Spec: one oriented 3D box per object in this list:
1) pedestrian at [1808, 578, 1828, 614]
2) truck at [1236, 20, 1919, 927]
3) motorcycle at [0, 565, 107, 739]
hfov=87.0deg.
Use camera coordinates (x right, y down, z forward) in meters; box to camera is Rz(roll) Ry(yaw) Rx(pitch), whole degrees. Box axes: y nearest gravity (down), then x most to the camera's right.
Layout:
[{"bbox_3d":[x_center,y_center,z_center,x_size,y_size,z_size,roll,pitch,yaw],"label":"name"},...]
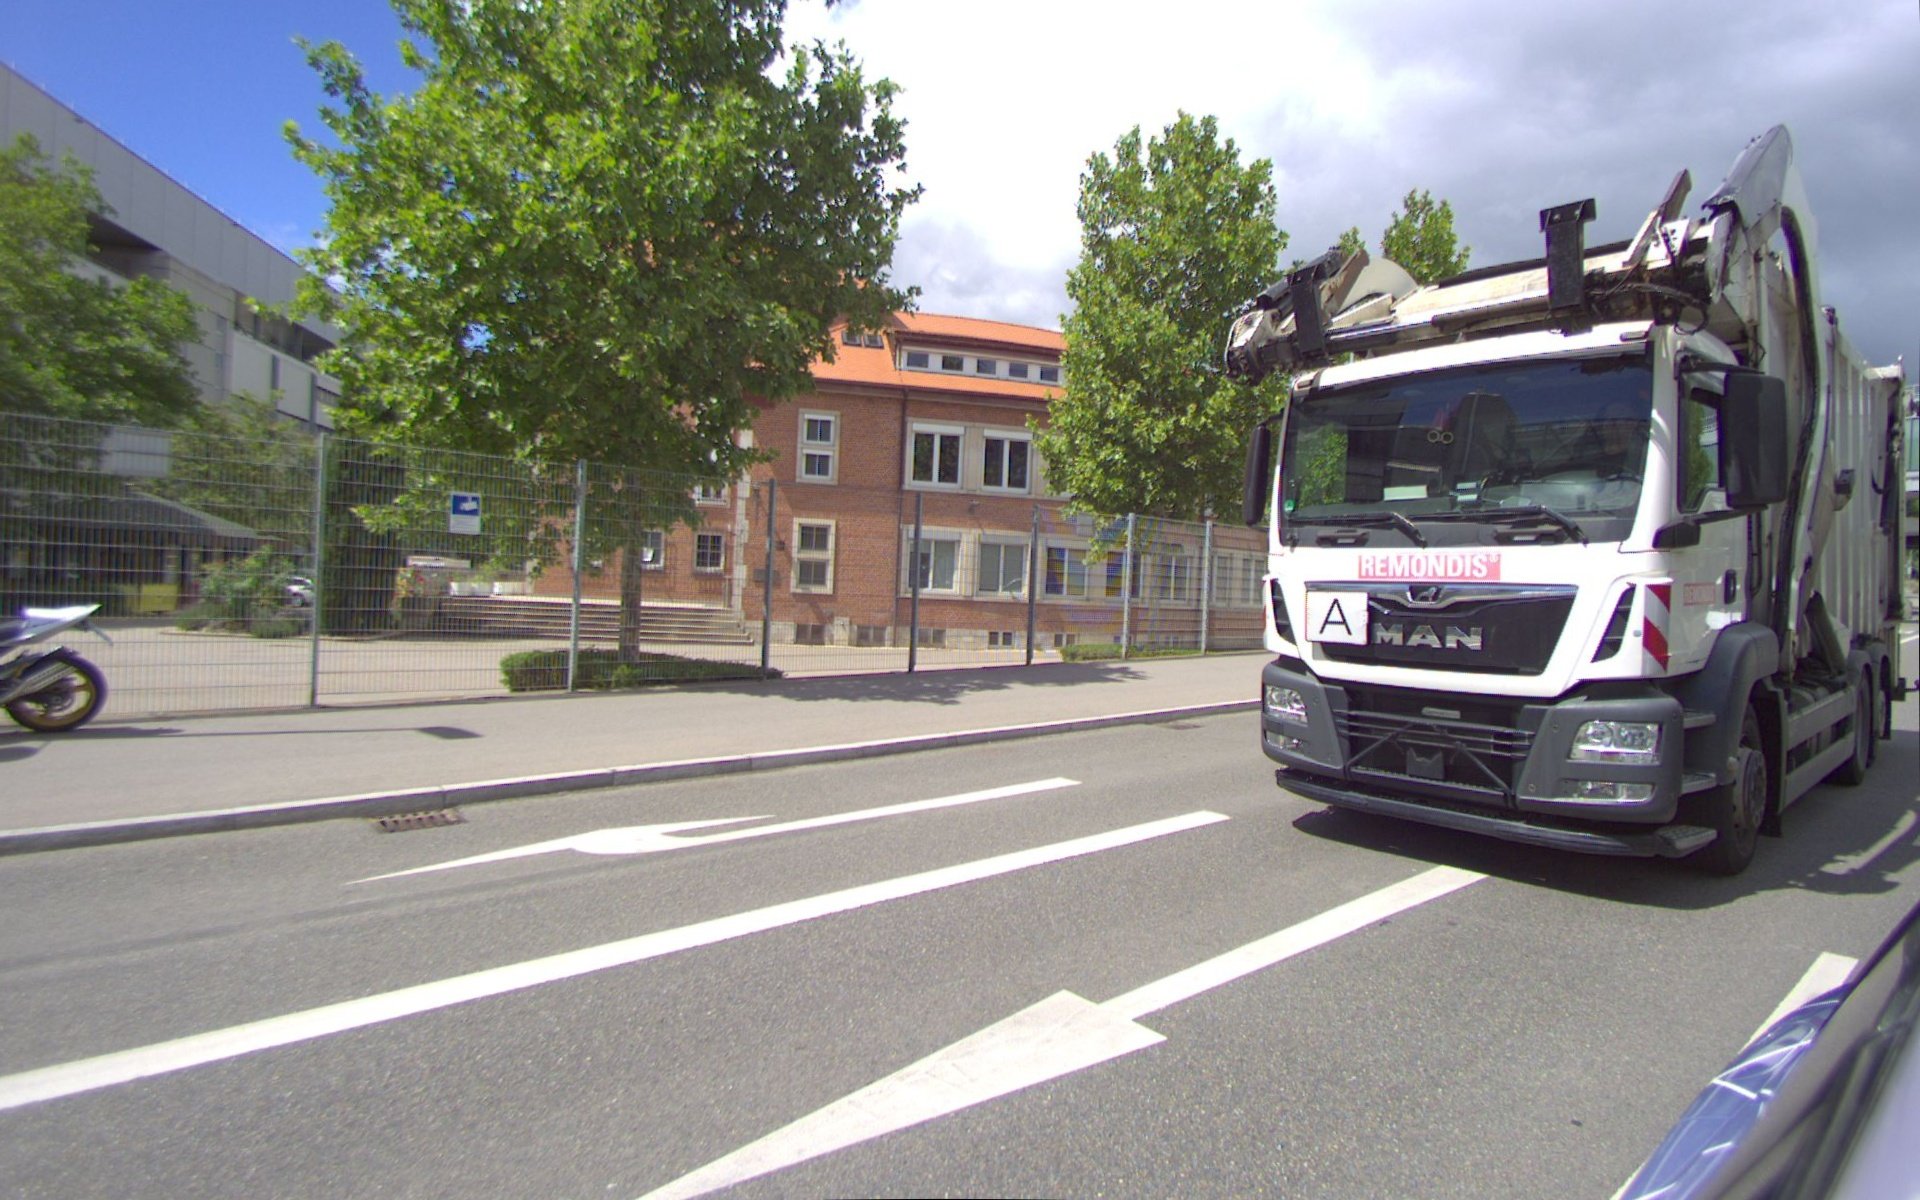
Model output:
[{"bbox_3d":[46.050,-0.206,54.331,0.647,1.936,0.738,0,0,-42],"label":"pedestrian"},{"bbox_3d":[6.260,-0.611,8.712,9.999,3.962,2.492,-1,0,-42],"label":"truck"},{"bbox_3d":[-7.437,0.370,7.291,1.978,1.238,0.688,-1,3,-41],"label":"motorcycle"}]
